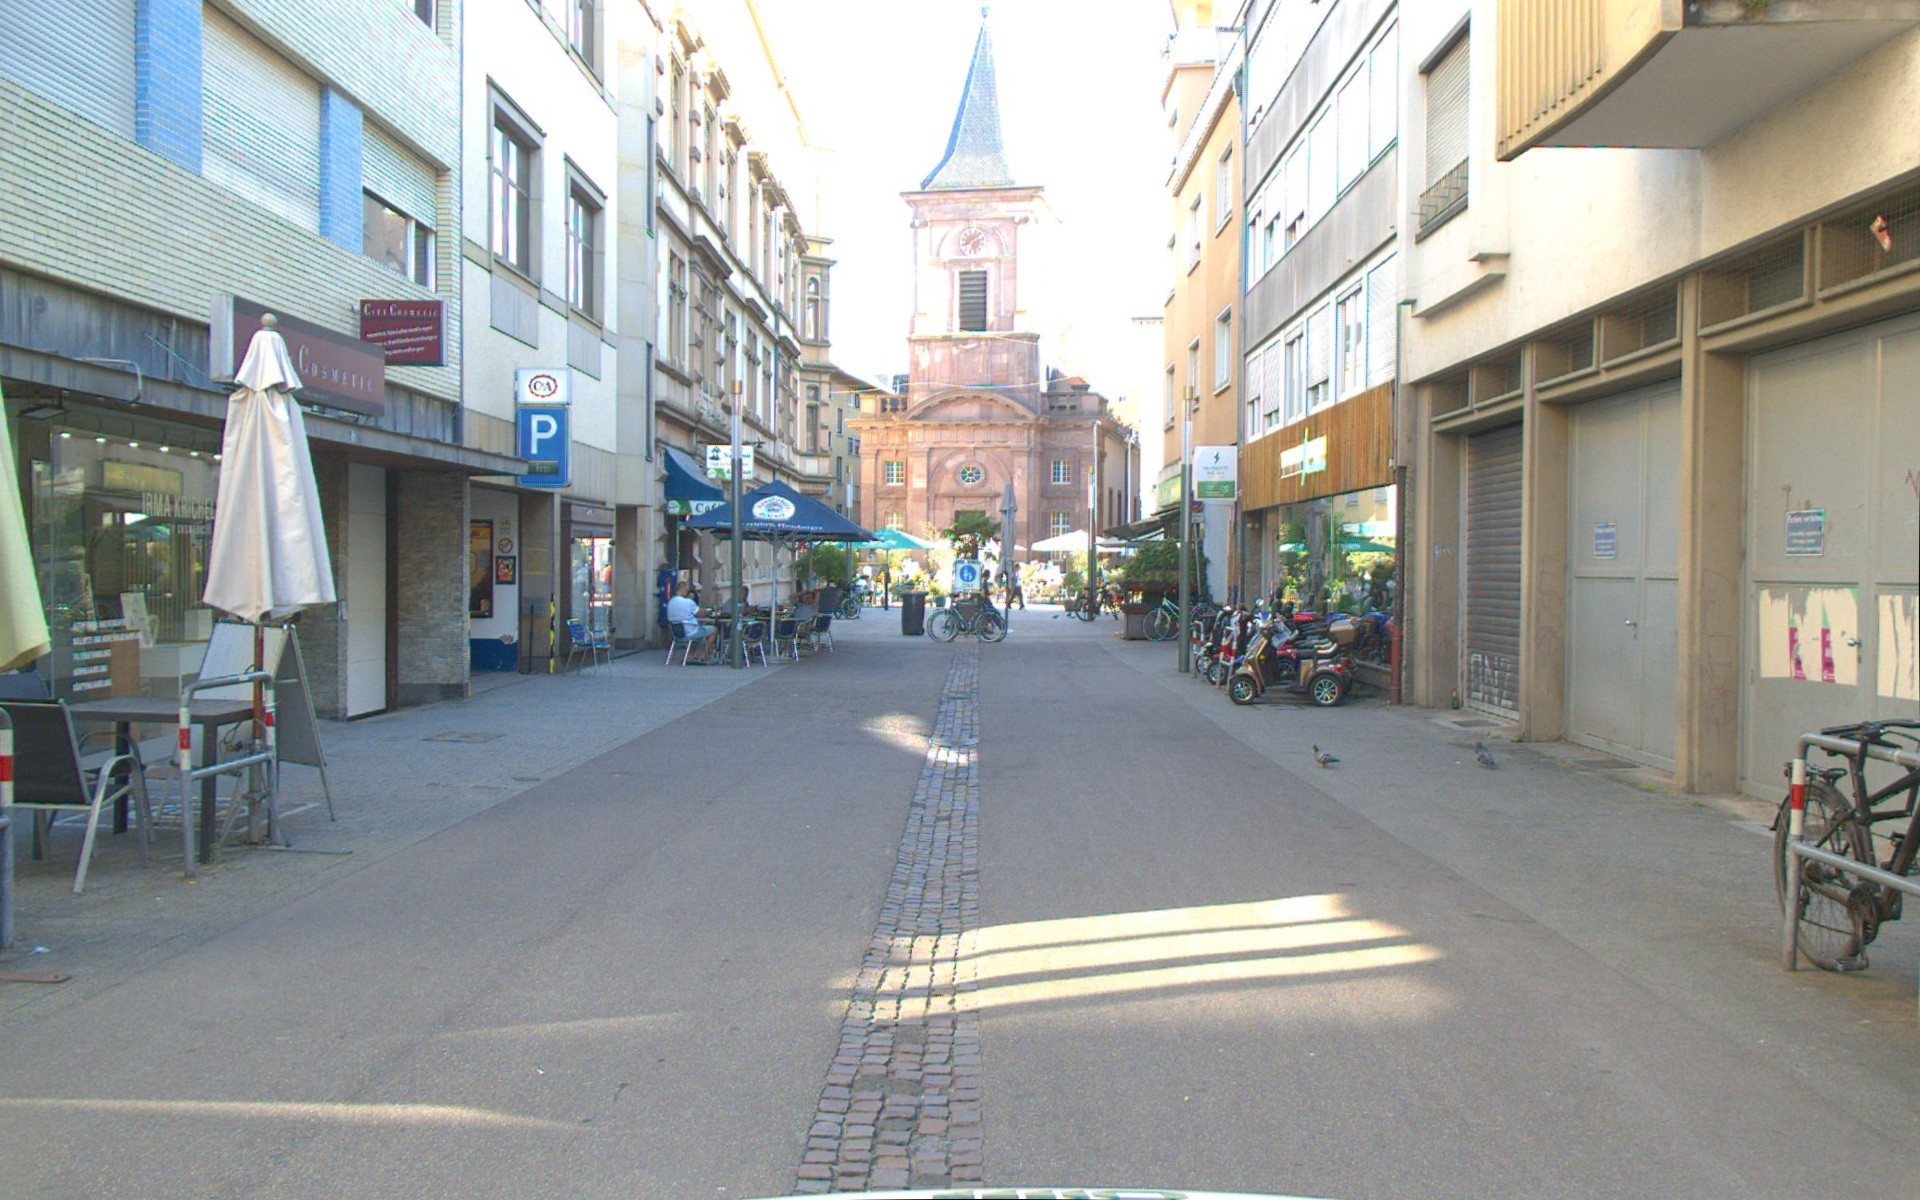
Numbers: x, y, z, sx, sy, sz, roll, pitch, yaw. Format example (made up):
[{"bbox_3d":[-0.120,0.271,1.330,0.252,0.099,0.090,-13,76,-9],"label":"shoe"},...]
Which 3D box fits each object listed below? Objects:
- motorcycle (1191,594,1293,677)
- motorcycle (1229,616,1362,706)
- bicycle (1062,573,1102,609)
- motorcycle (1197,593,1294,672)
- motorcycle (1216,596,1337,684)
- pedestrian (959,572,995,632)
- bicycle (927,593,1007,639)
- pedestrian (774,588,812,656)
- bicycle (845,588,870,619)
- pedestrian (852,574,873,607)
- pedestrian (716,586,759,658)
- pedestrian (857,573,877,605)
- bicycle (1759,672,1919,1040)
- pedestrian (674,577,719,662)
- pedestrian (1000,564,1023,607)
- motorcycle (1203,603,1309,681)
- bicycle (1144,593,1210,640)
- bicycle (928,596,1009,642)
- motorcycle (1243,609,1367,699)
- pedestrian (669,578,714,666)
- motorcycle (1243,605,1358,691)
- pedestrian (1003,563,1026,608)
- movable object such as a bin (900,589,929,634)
[{"bbox_3d":[4.189,0.521,24.575,1.452,1.202,0.412,0,0,16],"label":"motorcycle"},{"bbox_3d":[4.047,0.725,19.968,1.531,1.060,0.373,0,0,19],"label":"motorcycle"},{"bbox_3d":[4.630,-0.337,62.826,1.568,1.330,0.362,0,1,-29],"label":"bicycle"},{"bbox_3d":[4.421,0.489,25.632,1.452,1.202,0.412,0,0,16],"label":"motorcycle"},{"bbox_3d":[4.386,0.545,22.918,1.590,1.195,0.481,0,0,19],"label":"motorcycle"},{"bbox_3d":[0.431,0.034,41.501,0.865,1.489,0.731,0,1,1],"label":"pedestrian"},{"bbox_3d":[0.159,0.365,37.358,1.787,1.022,0.381,0,1,-3],"label":"bicycle"},{"bbox_3d":[-3.069,0.399,30.292,0.679,1.236,0.582,0,1,-8],"label":"pedestrian"},{"bbox_3d":[-3.042,0.089,49.313,0.447,0.864,2.148,0,1,4],"label":"bicycle"},{"bbox_3d":[-3.756,-0.360,63.466,0.685,1.239,0.720,0,1,6],"label":"pedestrian"},{"bbox_3d":[-3.957,0.381,29.494,0.750,1.254,0.830,0,1,-7],"label":"pedestrian"},{"bbox_3d":[-3.637,-0.446,64.896,0.685,1.239,0.720,0,1,6],"label":"pedestrian"},{"bbox_3d":[3.434,0.875,5.945,0.437,1.160,1.711,1,0,6],"label":"bicycle"},{"bbox_3d":[-4.409,0.318,27.653,0.705,1.392,0.708,0,1,-12],"label":"pedestrian"},{"bbox_3d":[2.011,-0.563,64.749,0.608,1.669,0.647,0,1,-45],"label":"pedestrian"},{"bbox_3d":[4.239,0.587,23.692,1.452,1.094,0.412,0,0,19],"label":"motorcycle"},{"bbox_3d":[4.814,0.356,36.642,1.432,1.022,0.573,0,1,7],"label":"bicycle"},{"bbox_3d":[0.177,0.420,36.963,1.787,1.022,0.381,0,1,-3],"label":"bicycle"},{"bbox_3d":[4.318,0.668,20.728,1.485,1.094,0.412,0,0,19],"label":"motorcycle"},{"bbox_3d":[-4.328,0.348,26.653,0.695,1.392,0.718,0,1,-12],"label":"pedestrian"},{"bbox_3d":[4.473,0.623,21.732,1.452,1.094,0.412,0,0,19],"label":"motorcycle"},{"bbox_3d":[1.916,-0.522,58.532,0.767,1.583,0.535,0,1,5],"label":"pedestrian"},{"bbox_3d":[-1.110,0.283,40.261,0.707,1.093,0.374,0,1,-1],"label":"movable object such as a bin"}]
